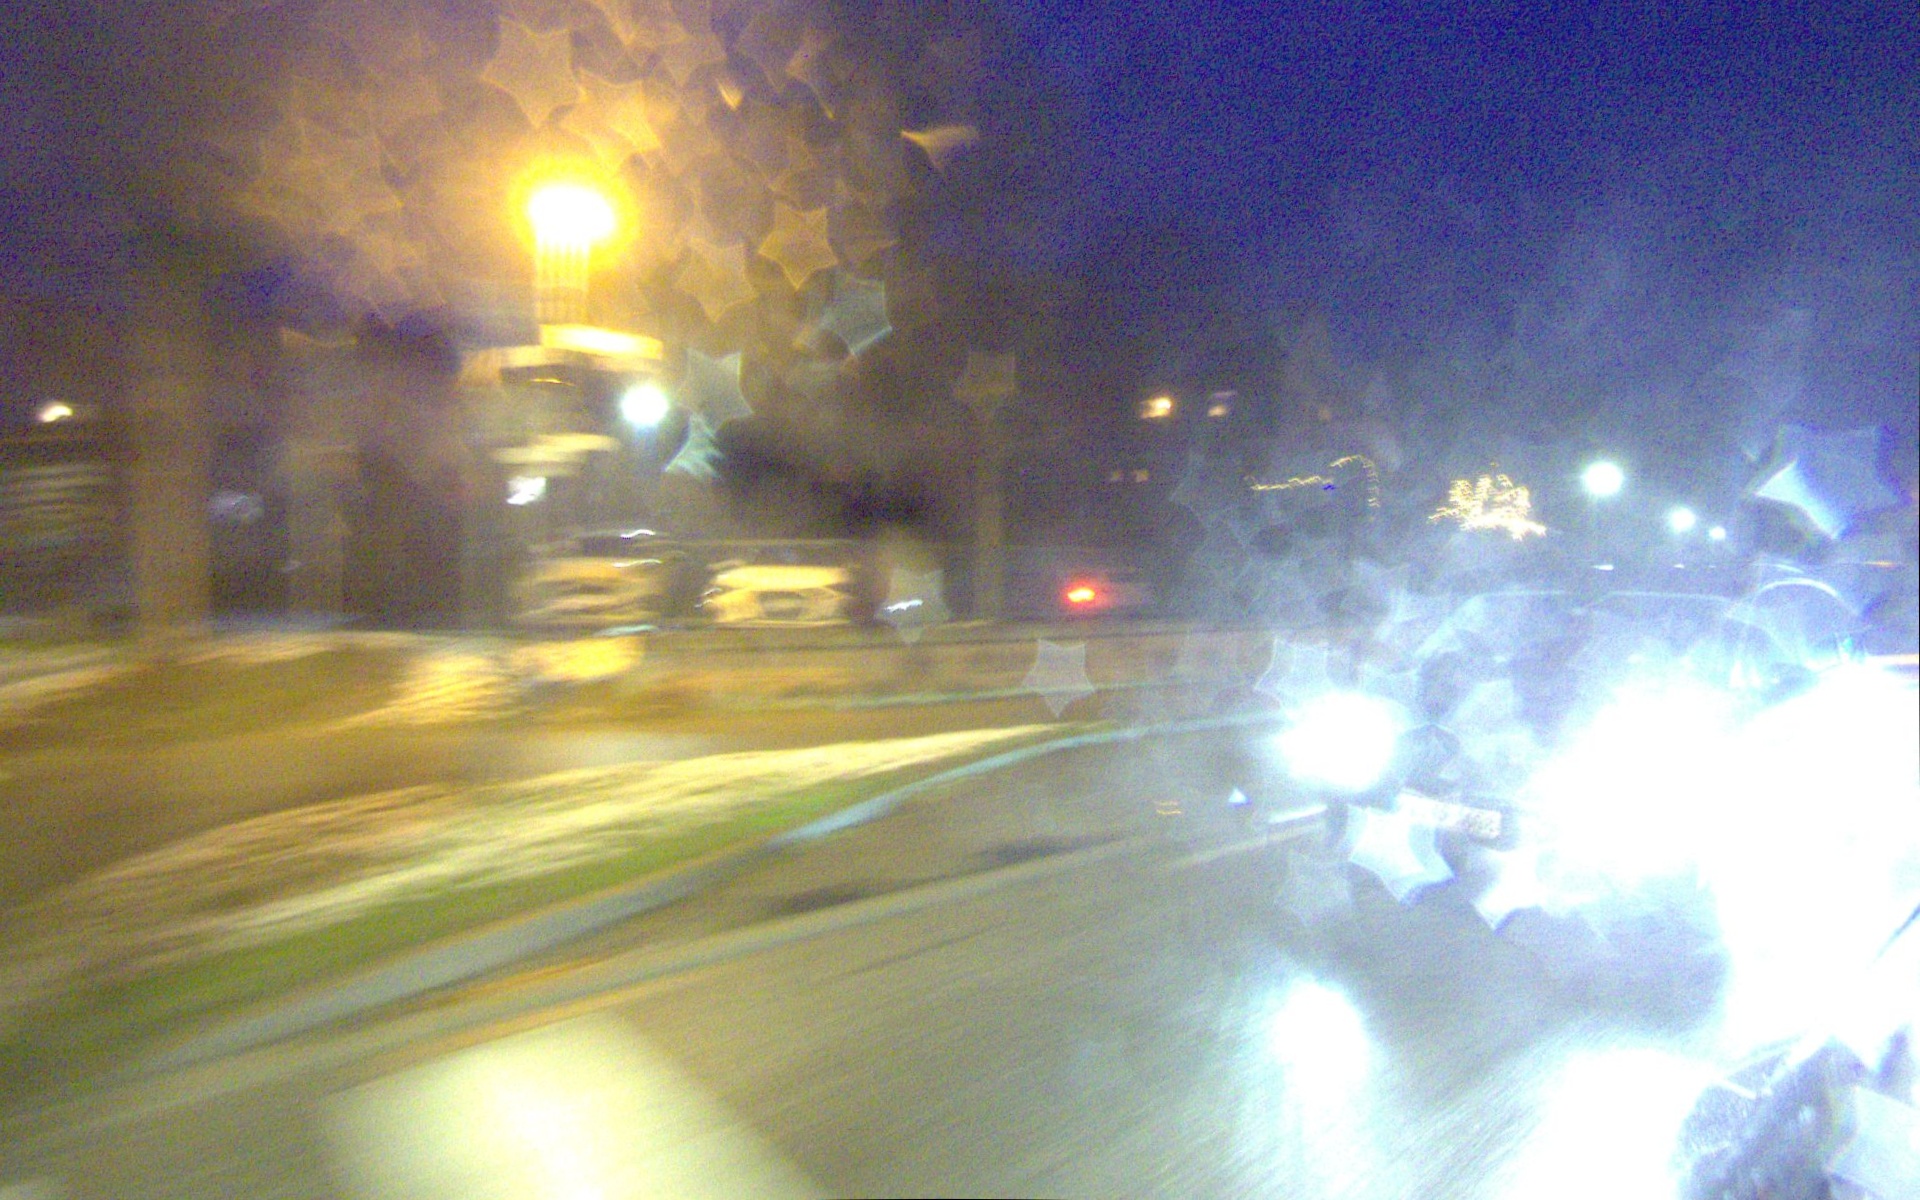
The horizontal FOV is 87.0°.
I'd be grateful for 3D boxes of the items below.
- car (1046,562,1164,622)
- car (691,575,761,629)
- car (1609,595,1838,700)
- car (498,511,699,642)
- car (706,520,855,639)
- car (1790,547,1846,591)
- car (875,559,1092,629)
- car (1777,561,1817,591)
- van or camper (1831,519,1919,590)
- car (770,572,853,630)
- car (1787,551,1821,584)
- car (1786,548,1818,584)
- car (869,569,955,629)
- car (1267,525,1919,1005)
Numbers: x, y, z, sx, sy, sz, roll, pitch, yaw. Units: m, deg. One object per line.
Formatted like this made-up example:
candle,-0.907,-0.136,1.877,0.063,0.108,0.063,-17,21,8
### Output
car,3.843,-0.201,27.509,1.727,1.506,3.955,-1,0,-15
car,-6.213,0.037,26.623,1.625,1.300,4.008,-1,0,-15
car,12.334,0.681,16.286,4.158,1.460,1.790,0,1,-36
car,-4.939,-0.292,14.395,1.797,1.594,3.892,-1,0,-5
car,-2.481,-0.260,14.897,1.814,1.478,4.346,-1,0,-5
car,42.606,-1.504,50.345,1.990,2.039,3.944,-1,0,39
car,0.507,-0.154,22.984,4.608,1.502,1.730,-1,0,-15
car,58.130,-1.625,70.315,1.989,2.039,3.945,-1,0,38
van or camper,39.497,-1.844,43.698,2.401,2.828,5.697,-1,0,36
car,-4.016,0.015,26.814,1.693,1.401,4.008,-1,0,-15
car,65.709,-2.491,78.802,1.926,2.451,4.195,-1,0,39
car,69.064,-2.770,83.070,1.926,2.810,4.195,-1,0,39
car,-1.338,-0.021,26.636,1.807,1.448,4.006,-1,0,-9
car,4.015,0.585,5.977,4.853,1.757,1.838,-1,0,-40
